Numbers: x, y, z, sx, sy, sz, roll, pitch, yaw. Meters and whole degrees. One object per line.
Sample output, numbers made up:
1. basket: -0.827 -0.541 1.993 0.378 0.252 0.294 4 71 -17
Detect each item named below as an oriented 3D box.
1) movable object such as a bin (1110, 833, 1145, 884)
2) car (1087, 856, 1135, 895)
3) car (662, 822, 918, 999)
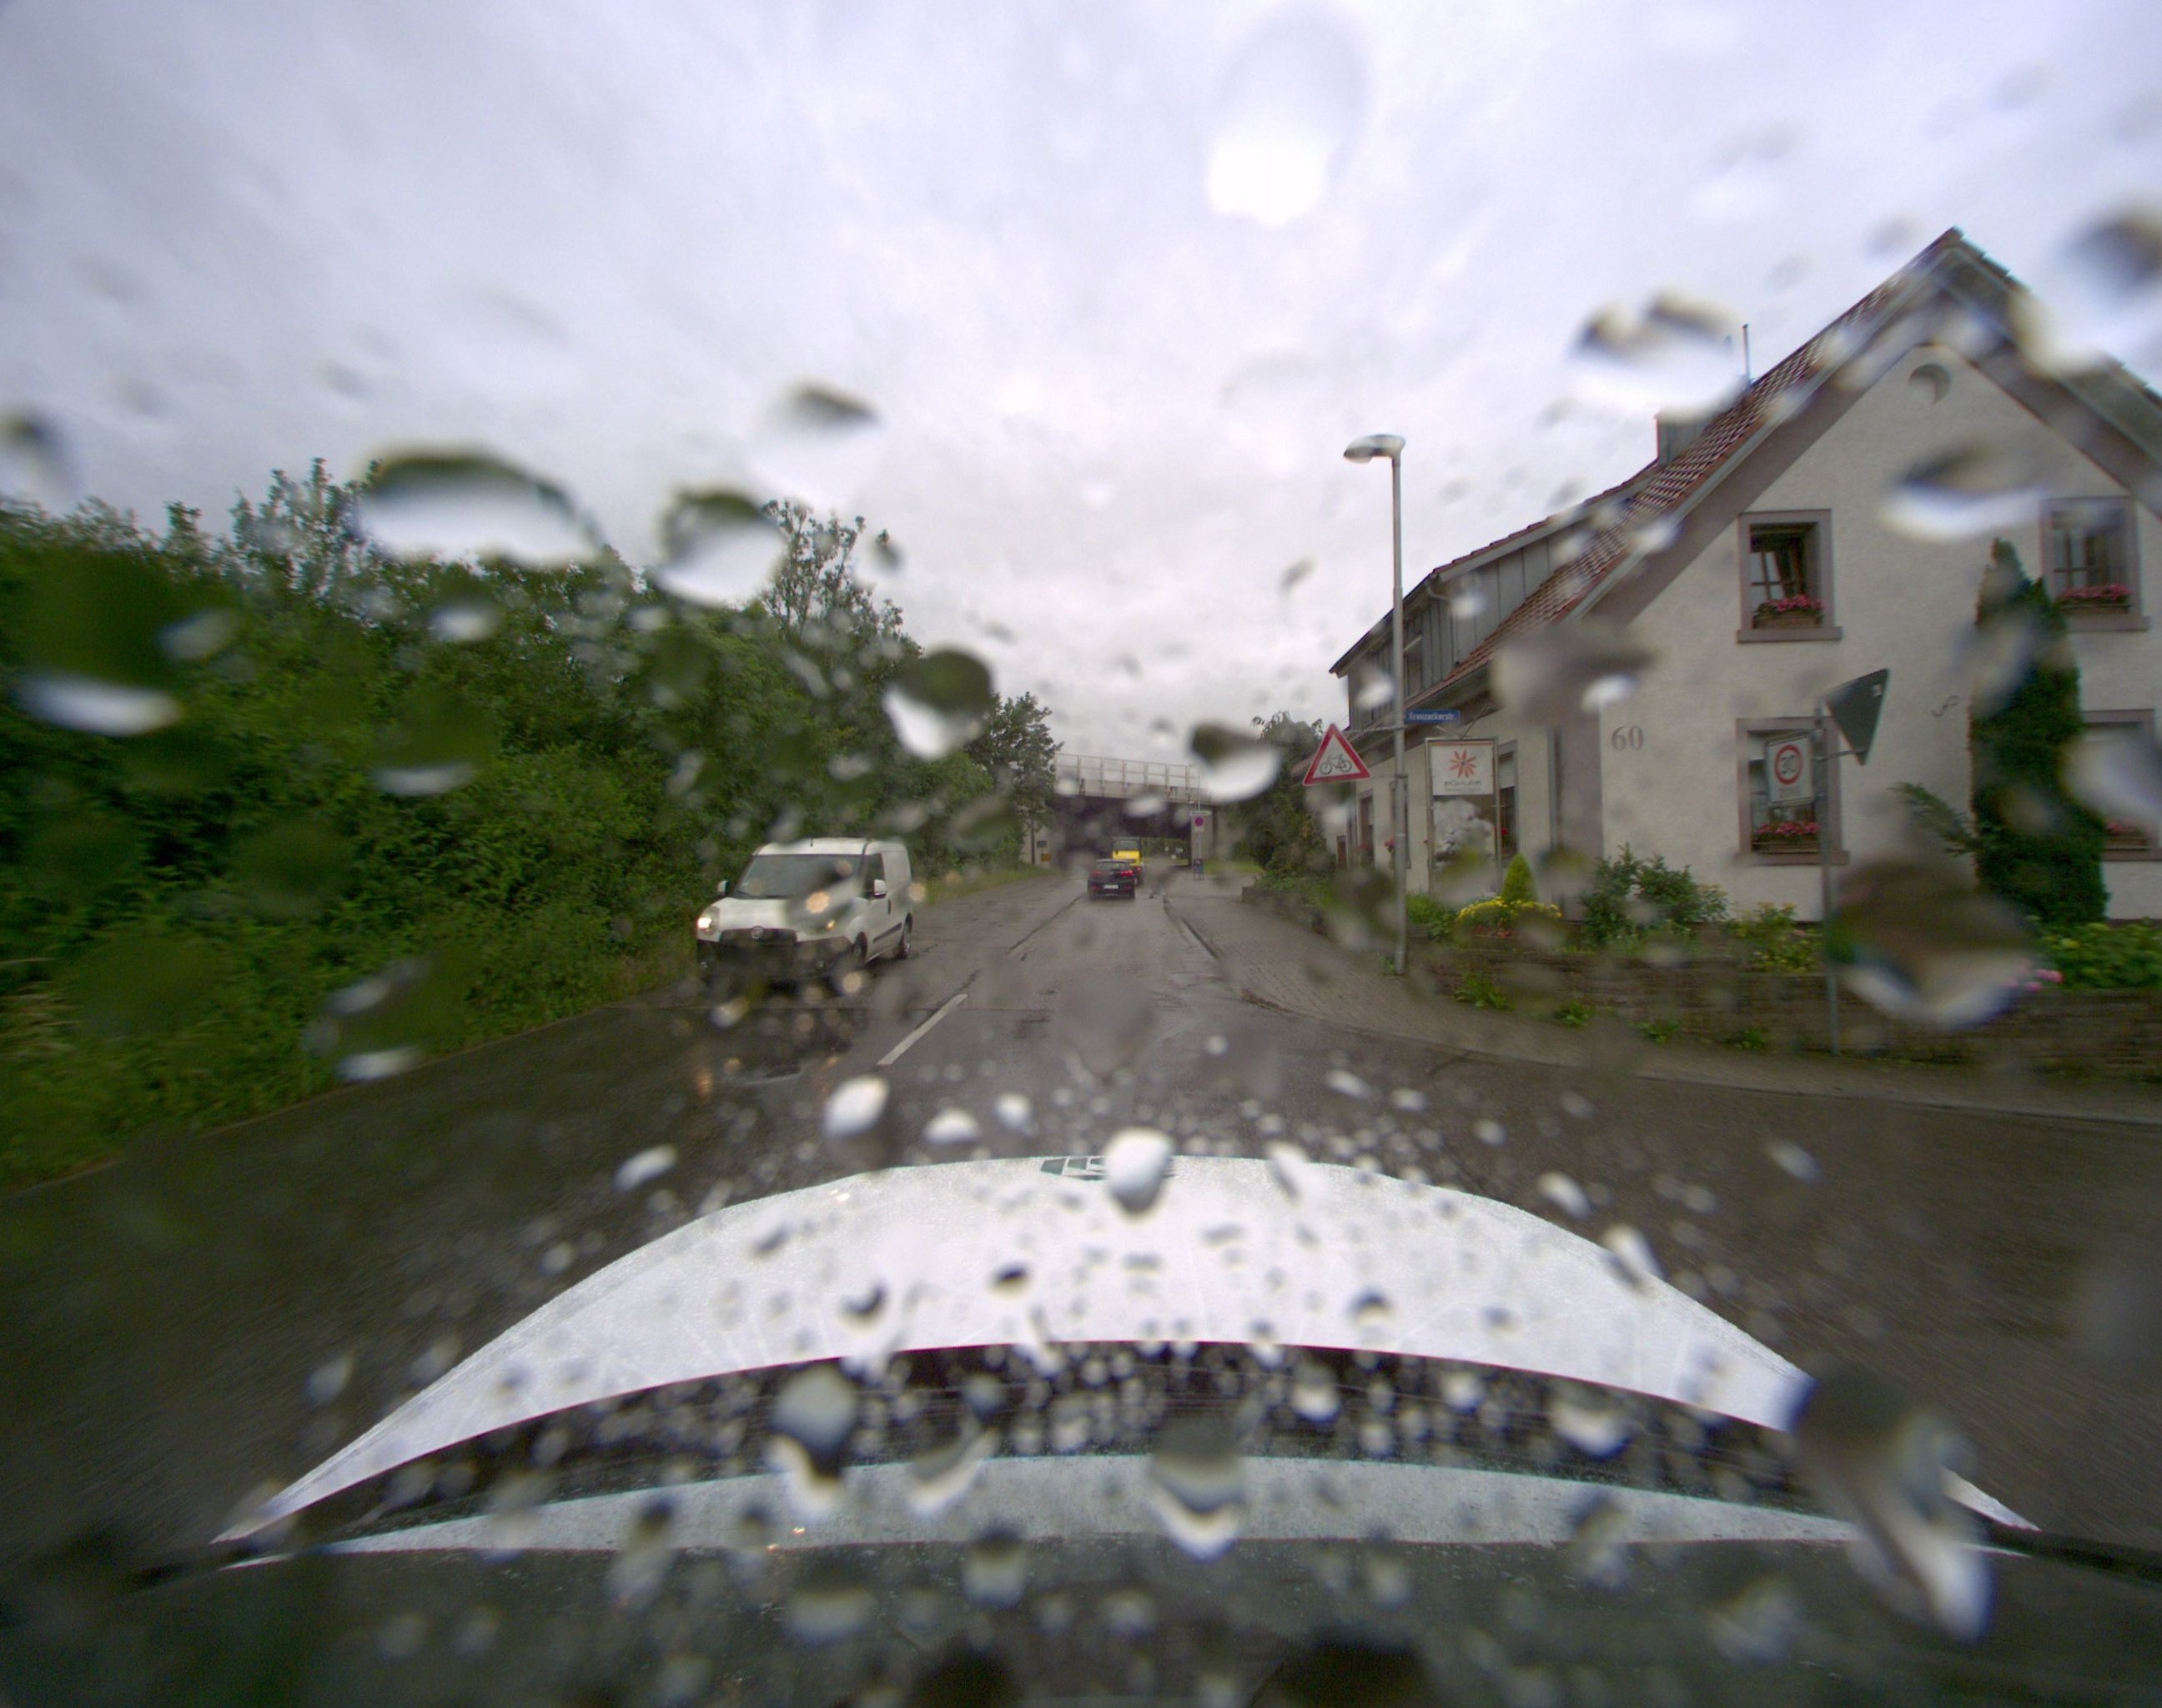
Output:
1. movable object such as a bin: 2.447 0.229 42.727 1.754 2.548 4.242 0 -1 3
2. car: 1.171 0.774 30.630 1.701 1.377 4.003 0 -1 3
3. car: -3.454 0.601 10.618 1.818 1.832 4.305 0 -1 -1
